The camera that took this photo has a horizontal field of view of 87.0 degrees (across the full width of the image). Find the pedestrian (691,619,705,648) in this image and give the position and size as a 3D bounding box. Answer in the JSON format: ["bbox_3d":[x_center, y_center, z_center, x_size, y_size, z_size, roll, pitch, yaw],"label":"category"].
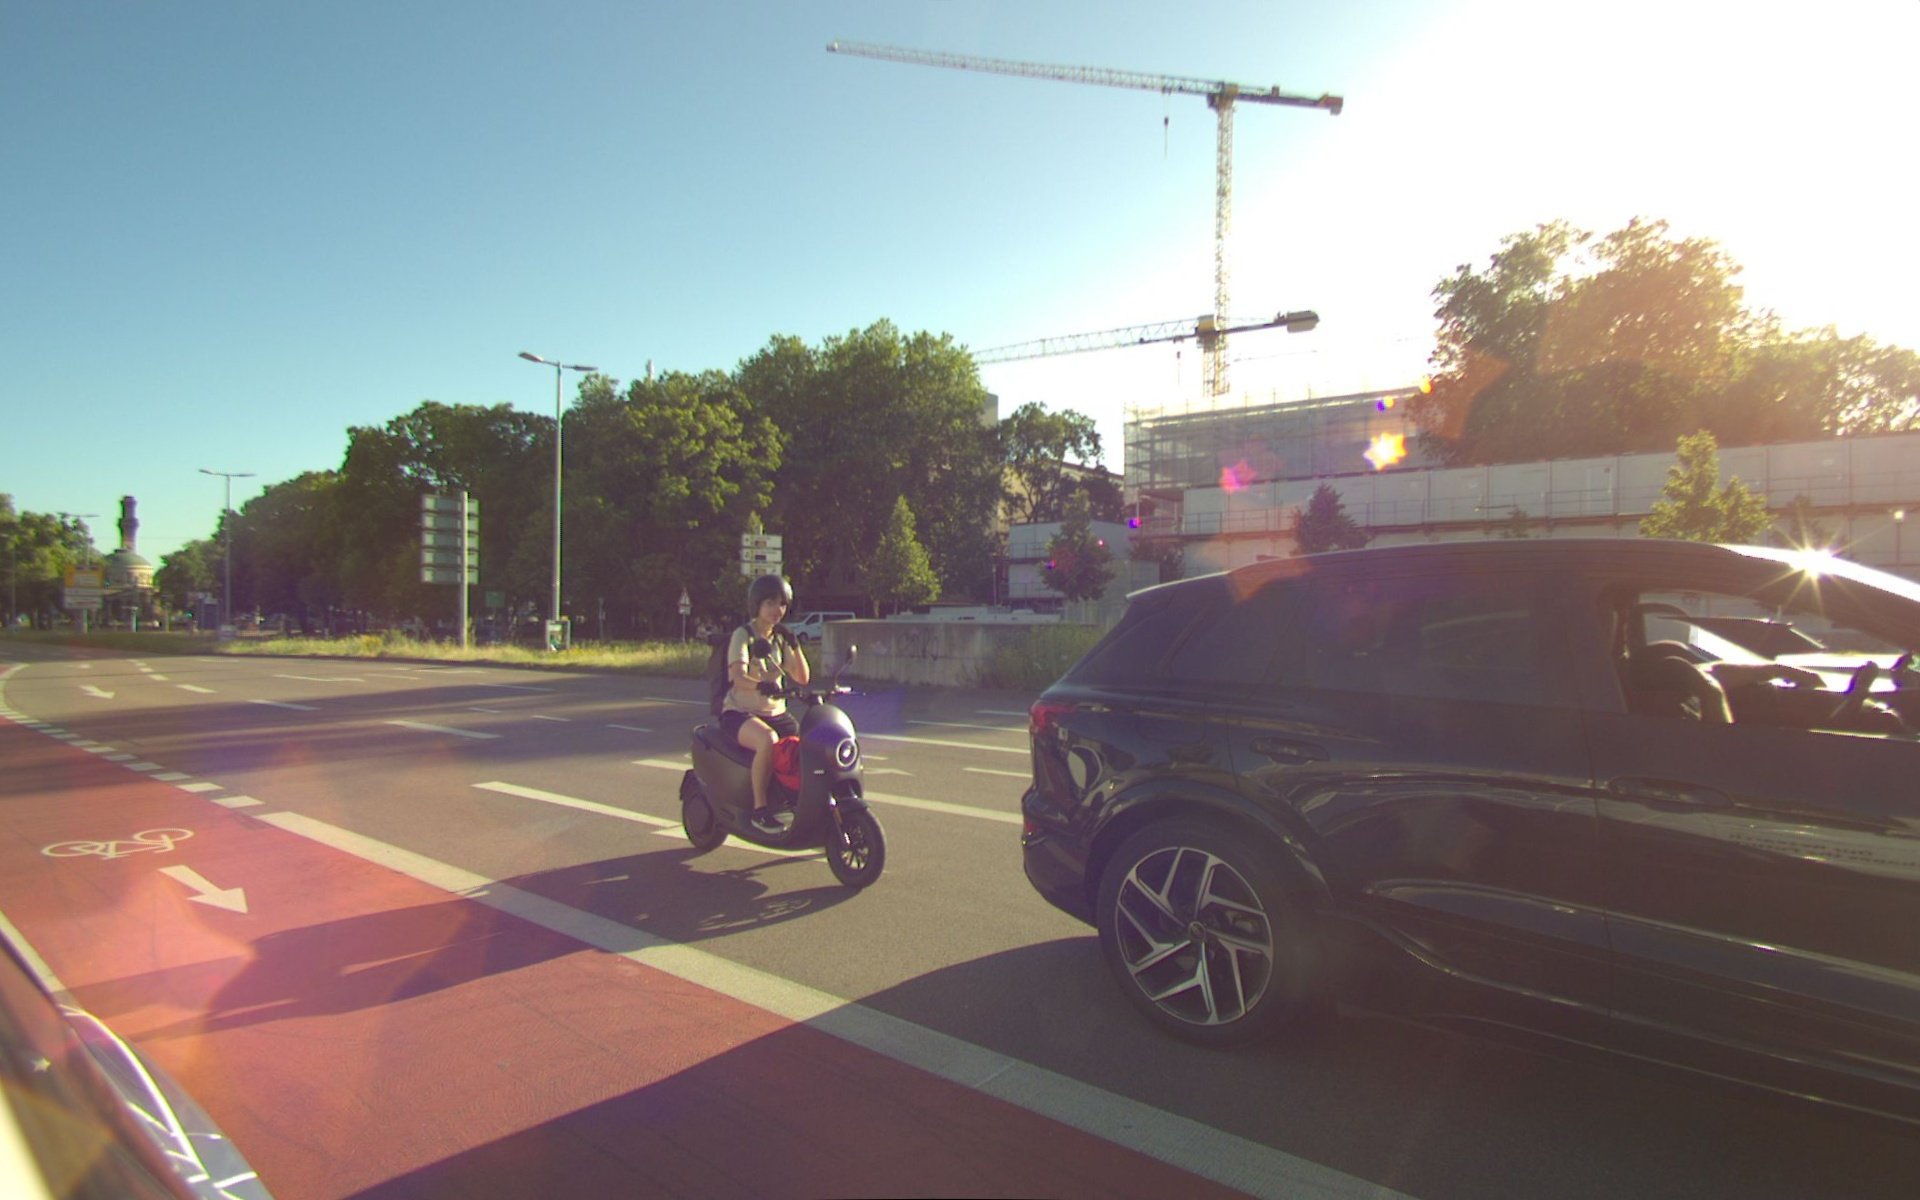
[{"bbox_3d":[-13.718,1.746,52.957,0.494,1.522,0.492,-1,-2,41],"label":"pedestrian"}]

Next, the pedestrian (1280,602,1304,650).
[{"bbox_3d":[11.359,0.892,34.581,0.597,1.614,0.580,-1,0,38],"label":"pedestrian"}]

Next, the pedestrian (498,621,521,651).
[{"bbox_3d":[-30.087,2.393,67.538,1.054,1.978,0.942,-1,0,26],"label":"pedestrian"}]

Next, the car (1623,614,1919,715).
[{"bbox_3d":[13.485,0.996,16.746,3.979,1.492,1.857,-1,-2,41],"label":"car"}]

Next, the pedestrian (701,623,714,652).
[{"bbox_3d":[-13.369,1.999,53.540,0.494,1.522,0.492,-1,-2,41],"label":"pedestrian"}]

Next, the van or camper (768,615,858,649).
[{"bbox_3d":[-8.957,1.930,61.889,1.951,1.960,5.425,-2,-2,44],"label":"van or camper"}]

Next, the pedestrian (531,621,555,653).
[{"bbox_3d":[-26.669,2.343,64.734,0.815,1.978,1.111,-1,0,41],"label":"pedestrian"}]

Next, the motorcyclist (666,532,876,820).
[{"bbox_3d":[-1.076,0.400,5.781,0.877,1.475,0.813,-1,-2,41],"label":"motorcyclist"}]

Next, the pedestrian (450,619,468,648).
[{"bbox_3d":[-35.862,2.417,72.416,0.942,2.029,0.842,-1,0,-10],"label":"pedestrian"}]

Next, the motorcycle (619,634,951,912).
[{"bbox_3d":[-1.041,0.844,5.721,1.943,1.290,0.817,-1,-2,41],"label":"motorcycle"}]

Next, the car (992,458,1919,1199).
[{"bbox_3d":[2.596,0.552,3.148,4.660,1.720,2.144,-1,-1,40],"label":"car"}]

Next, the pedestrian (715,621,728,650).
[{"bbox_3d":[-12.763,1.889,54.197,0.494,1.522,0.492,-1,-2,41],"label":"pedestrian"}]
